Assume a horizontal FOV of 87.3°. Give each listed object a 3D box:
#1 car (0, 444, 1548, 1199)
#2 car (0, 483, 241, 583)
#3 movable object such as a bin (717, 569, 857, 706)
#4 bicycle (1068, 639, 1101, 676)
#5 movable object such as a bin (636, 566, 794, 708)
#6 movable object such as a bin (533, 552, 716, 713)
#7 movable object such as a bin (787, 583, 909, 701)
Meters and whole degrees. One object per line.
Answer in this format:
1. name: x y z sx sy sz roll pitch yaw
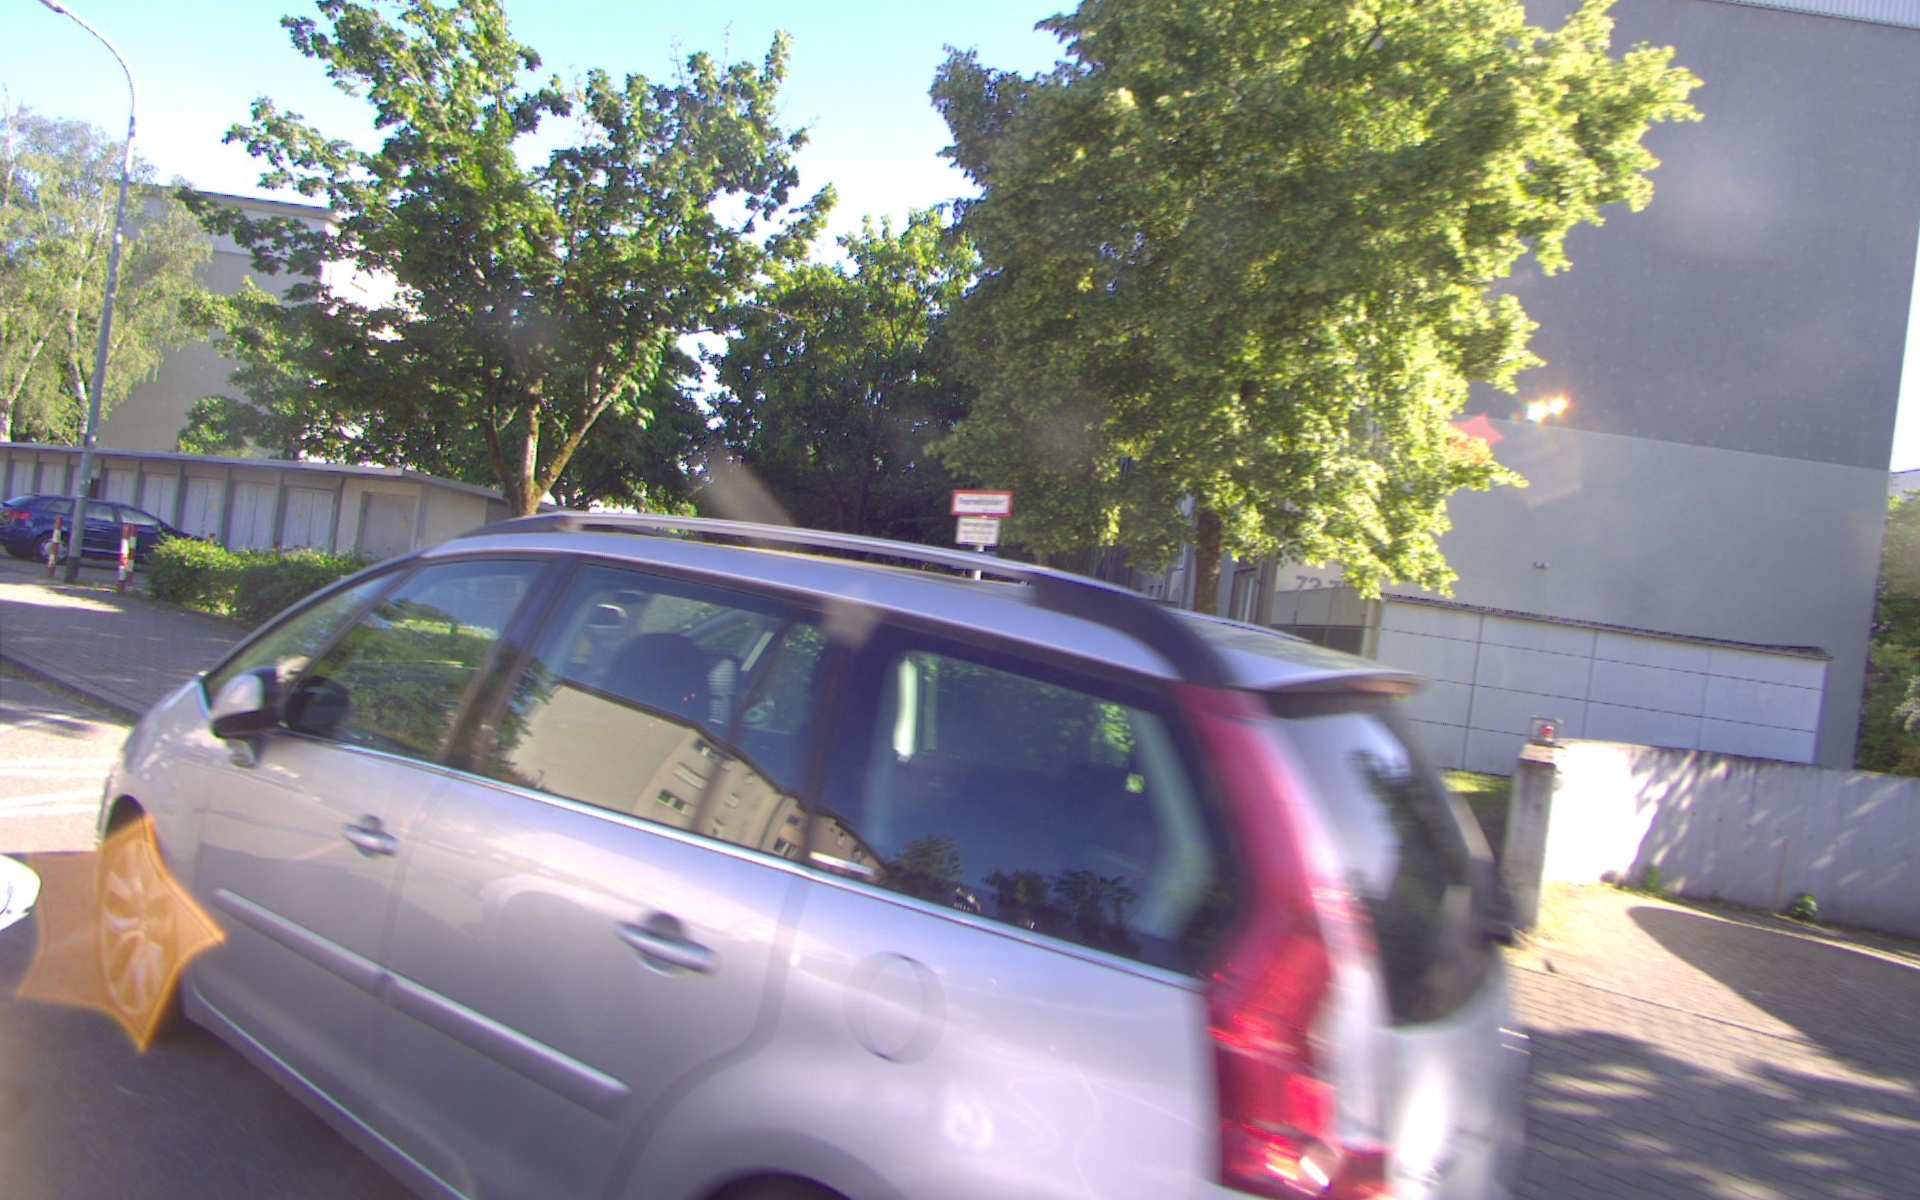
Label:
1. car: -0.970 0.598 2.937 4.422 1.646 1.756 7 -1 34
2. car: -18.586 -1.433 22.007 1.787 1.512 4.192 7 -1 29
3. movable object such as a bin: -2.200 0.500 12.941 1.011 1.555 1.328 7 -1 26
4. bicycle: 3.496 1.603 28.368 0.537 0.853 2.417 8 0 1
5. movable object such as a bin: -2.813 0.444 11.682 1.011 1.448 1.328 7 -1 26
6. movable object such as a bin: -3.440 0.326 10.391 1.051 1.447 1.326 7 2 26
7. movable object such as a bin: -1.576 0.617 14.343 1.011 1.498 1.325 7 -1 26
